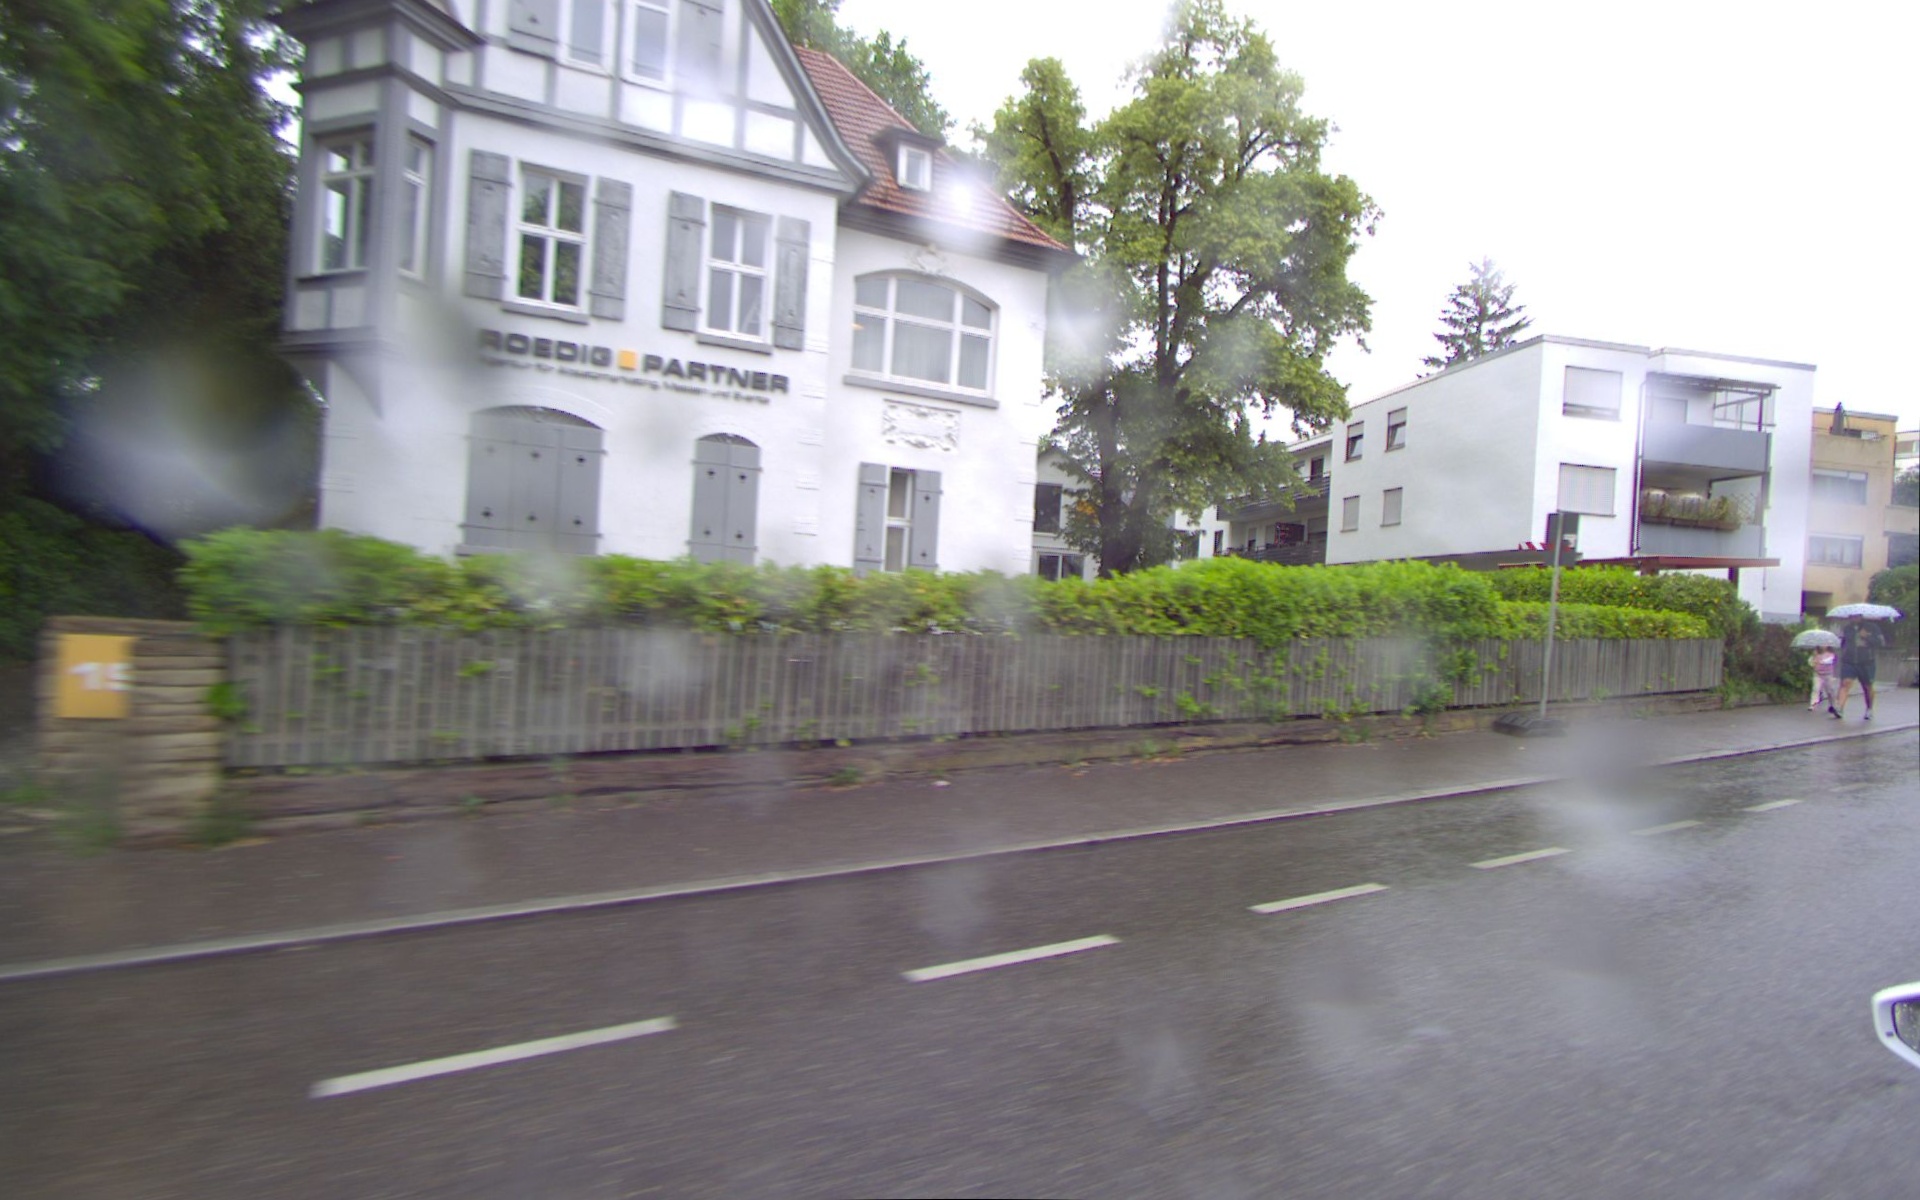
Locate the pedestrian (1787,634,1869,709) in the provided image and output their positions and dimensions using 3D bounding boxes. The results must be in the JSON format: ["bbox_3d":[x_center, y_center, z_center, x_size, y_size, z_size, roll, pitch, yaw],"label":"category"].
[{"bbox_3d":[14.733,1.196,17.056,1.028,1.196,0.751,2,2,-34],"label":"pedestrian"}]

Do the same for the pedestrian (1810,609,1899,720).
[{"bbox_3d":[14.336,1.013,16.096,1.028,1.666,0.751,2,2,-34],"label":"pedestrian"}]
